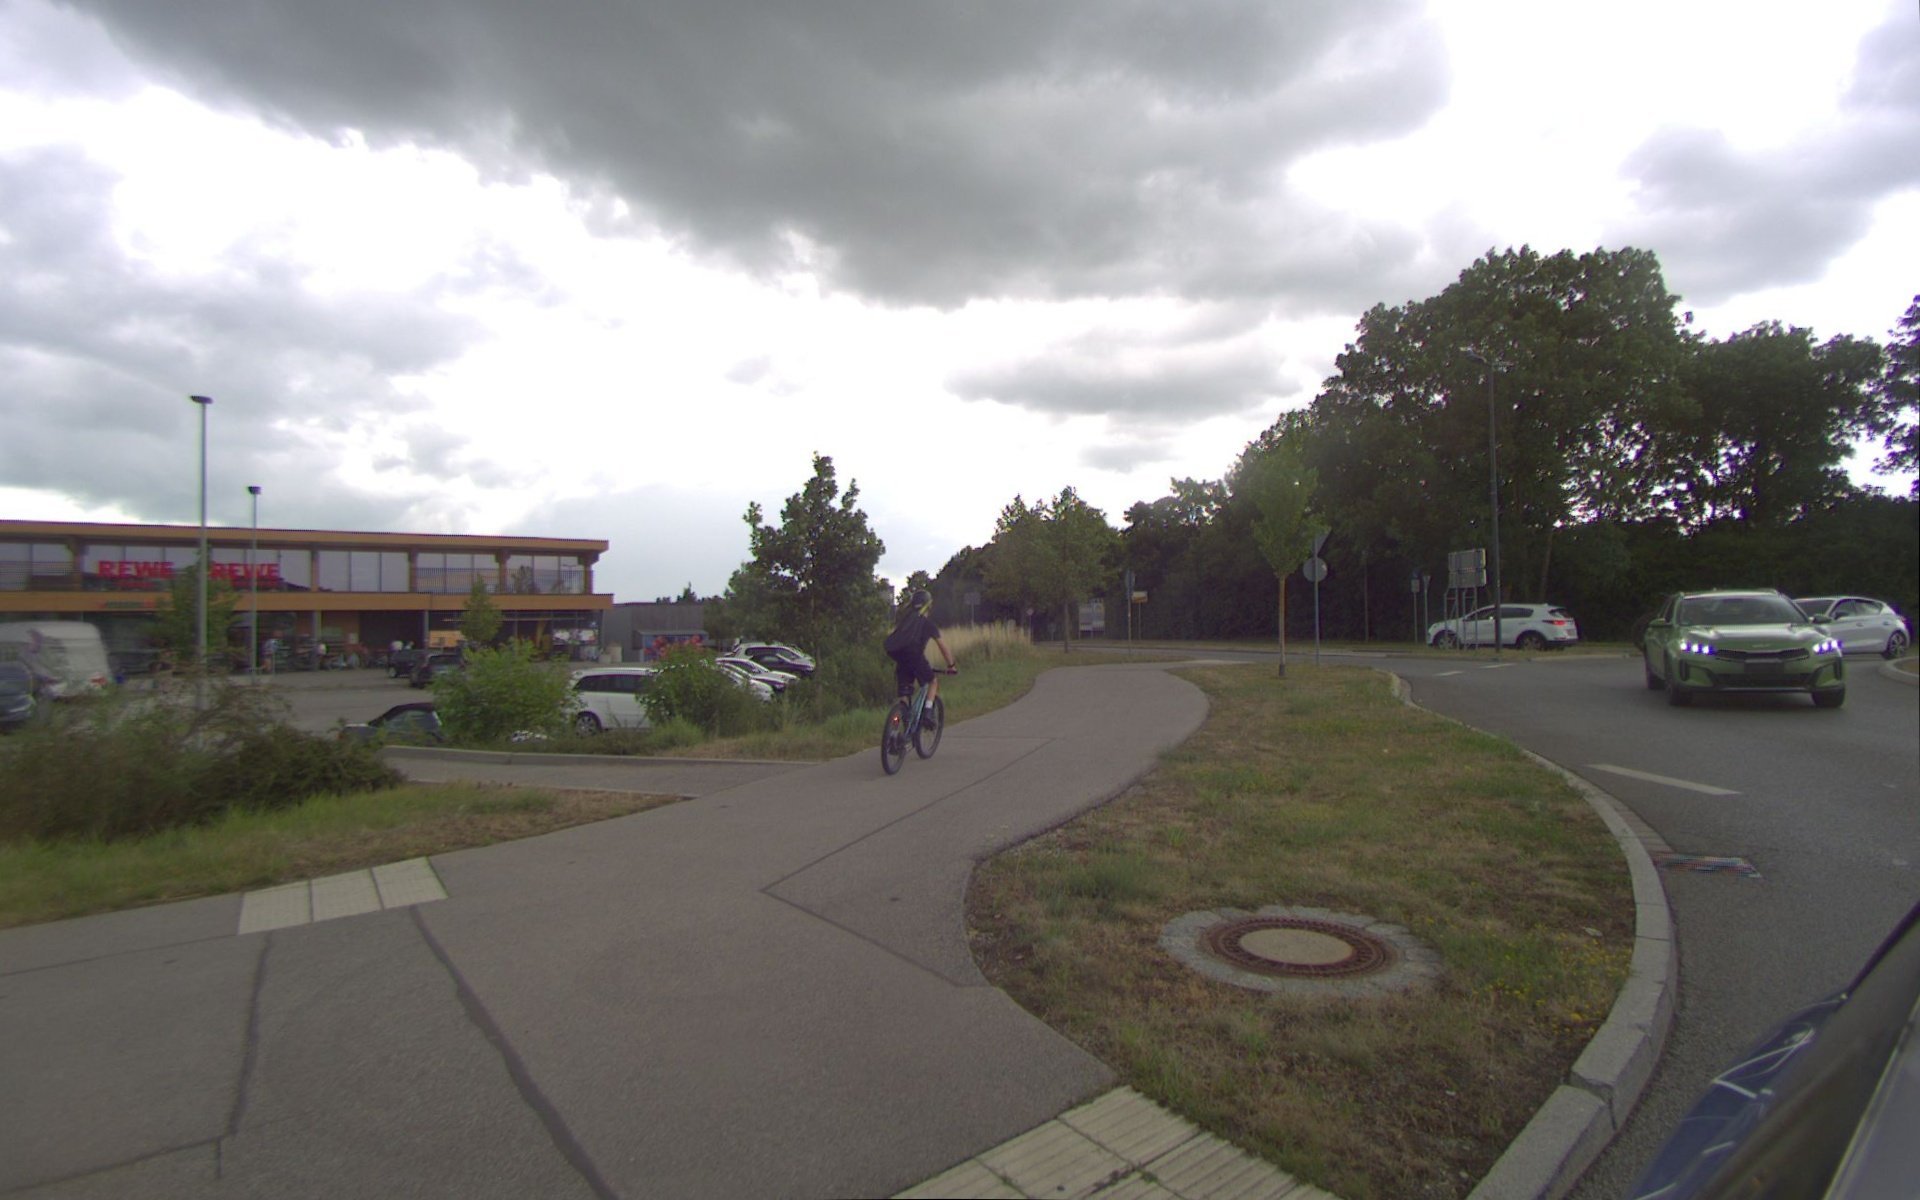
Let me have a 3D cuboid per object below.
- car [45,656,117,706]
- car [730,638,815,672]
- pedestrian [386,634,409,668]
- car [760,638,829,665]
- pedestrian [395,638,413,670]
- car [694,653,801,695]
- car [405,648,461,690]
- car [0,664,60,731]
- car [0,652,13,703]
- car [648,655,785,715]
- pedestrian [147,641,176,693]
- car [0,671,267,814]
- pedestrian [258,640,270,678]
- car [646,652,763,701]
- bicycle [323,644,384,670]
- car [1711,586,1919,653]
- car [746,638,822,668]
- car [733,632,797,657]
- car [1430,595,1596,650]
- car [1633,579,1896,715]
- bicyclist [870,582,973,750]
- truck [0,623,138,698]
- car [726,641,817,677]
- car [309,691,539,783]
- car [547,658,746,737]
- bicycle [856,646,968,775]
[{"bbox_3d":[-31.647,2.861,36.539,1.700,1.549,3.996,0,-1,-37],"label":"car"},{"bbox_3d":[-9.099,2.669,49.347,3.815,1.483,1.697,-1,-1,-1],"label":"car"},{"bbox_3d":[-32.884,2.960,59.173,0.788,1.923,0.917,-5,-4,34],"label":"pedestrian"},{"bbox_3d":[-9.672,3.002,59.343,3.815,1.483,1.697,-1,-1,-1],"label":"car"},{"bbox_3d":[-30.158,2.936,54.929,0.790,1.679,0.750,0,-1,-34],"label":"pedestrian"},{"bbox_3d":[-7.679,2.674,36.750,3.605,1.311,1.416,-1,-1,-1],"label":"car"},{"bbox_3d":[-22.110,2.843,42.427,1.683,1.588,3.669,0,-1,-34],"label":"car"},{"bbox_3d":[-25.728,2.620,27.418,1.700,1.573,3.996,0,-1,-37],"label":"car"},{"bbox_3d":[-34.080,2.721,34.554,1.816,1.747,4.120,-2,-1,-33],"label":"car"},{"bbox_3d":[-7.450,2.567,31.128,3.917,1.527,2.003,-2,-1,-13],"label":"car"},{"bbox_3d":[-32.593,2.720,41.314,0.915,2.039,0.805,0,-2,-38],"label":"pedestrian"},{"bbox_3d":[-9.205,1.447,10.608,3.715,1.223,1.565,-4,-3,25],"label":"car"},{"bbox_3d":[-36.799,3.089,53.532,0.515,1.974,0.579,0,-2,-33],"label":"pedestrian"},{"bbox_3d":[-8.384,2.479,33.279,3.599,1.311,1.719,-2,-1,-15],"label":"car"},{"bbox_3d":[-33.593,3.141,56.064,2.814,1.326,0.979,-1,-1,-34],"label":"bicycle"},{"bbox_3d":[19.055,0.453,22.351,4.184,1.344,1.930,2,-2,-19],"label":"car"},{"bbox_3d":[-9.493,2.845,54.697,3.815,1.483,1.697,-1,-1,-1],"label":"car"},{"bbox_3d":[-12.685,2.871,65.917,3.916,1.462,1.887,-1,-1,-16],"label":"car"},{"bbox_3d":[17.842,0.763,32.813,1.891,1.623,4.269,-1,-2,-38],"label":"car"},{"bbox_3d":[10.874,0.535,14.108,1.908,1.521,4.835,-3,0,28],"label":"car"},{"bbox_3d":[-0.338,0.576,9.339,0.715,1.465,0.864,0,0,17],"label":"bicyclist"},{"bbox_3d":[-37.696,2.413,40.645,7.124,2.843,2.974,-1,-1,-37],"label":"truck"},{"bbox_3d":[-8.556,2.678,46.135,3.815,1.483,1.697,-1,-1,-1],"label":"car"},{"bbox_3d":[-9.472,2.370,17.899,3.686,1.390,1.570,-2,-2,21],"label":"car"},{"bbox_3d":[-7.562,2.360,24.765,4.355,1.694,1.802,1,0,-6],"label":"car"},{"bbox_3d":[-0.391,0.943,9.149,0.490,0.958,1.705,0,0,16],"label":"bicycle"}]
